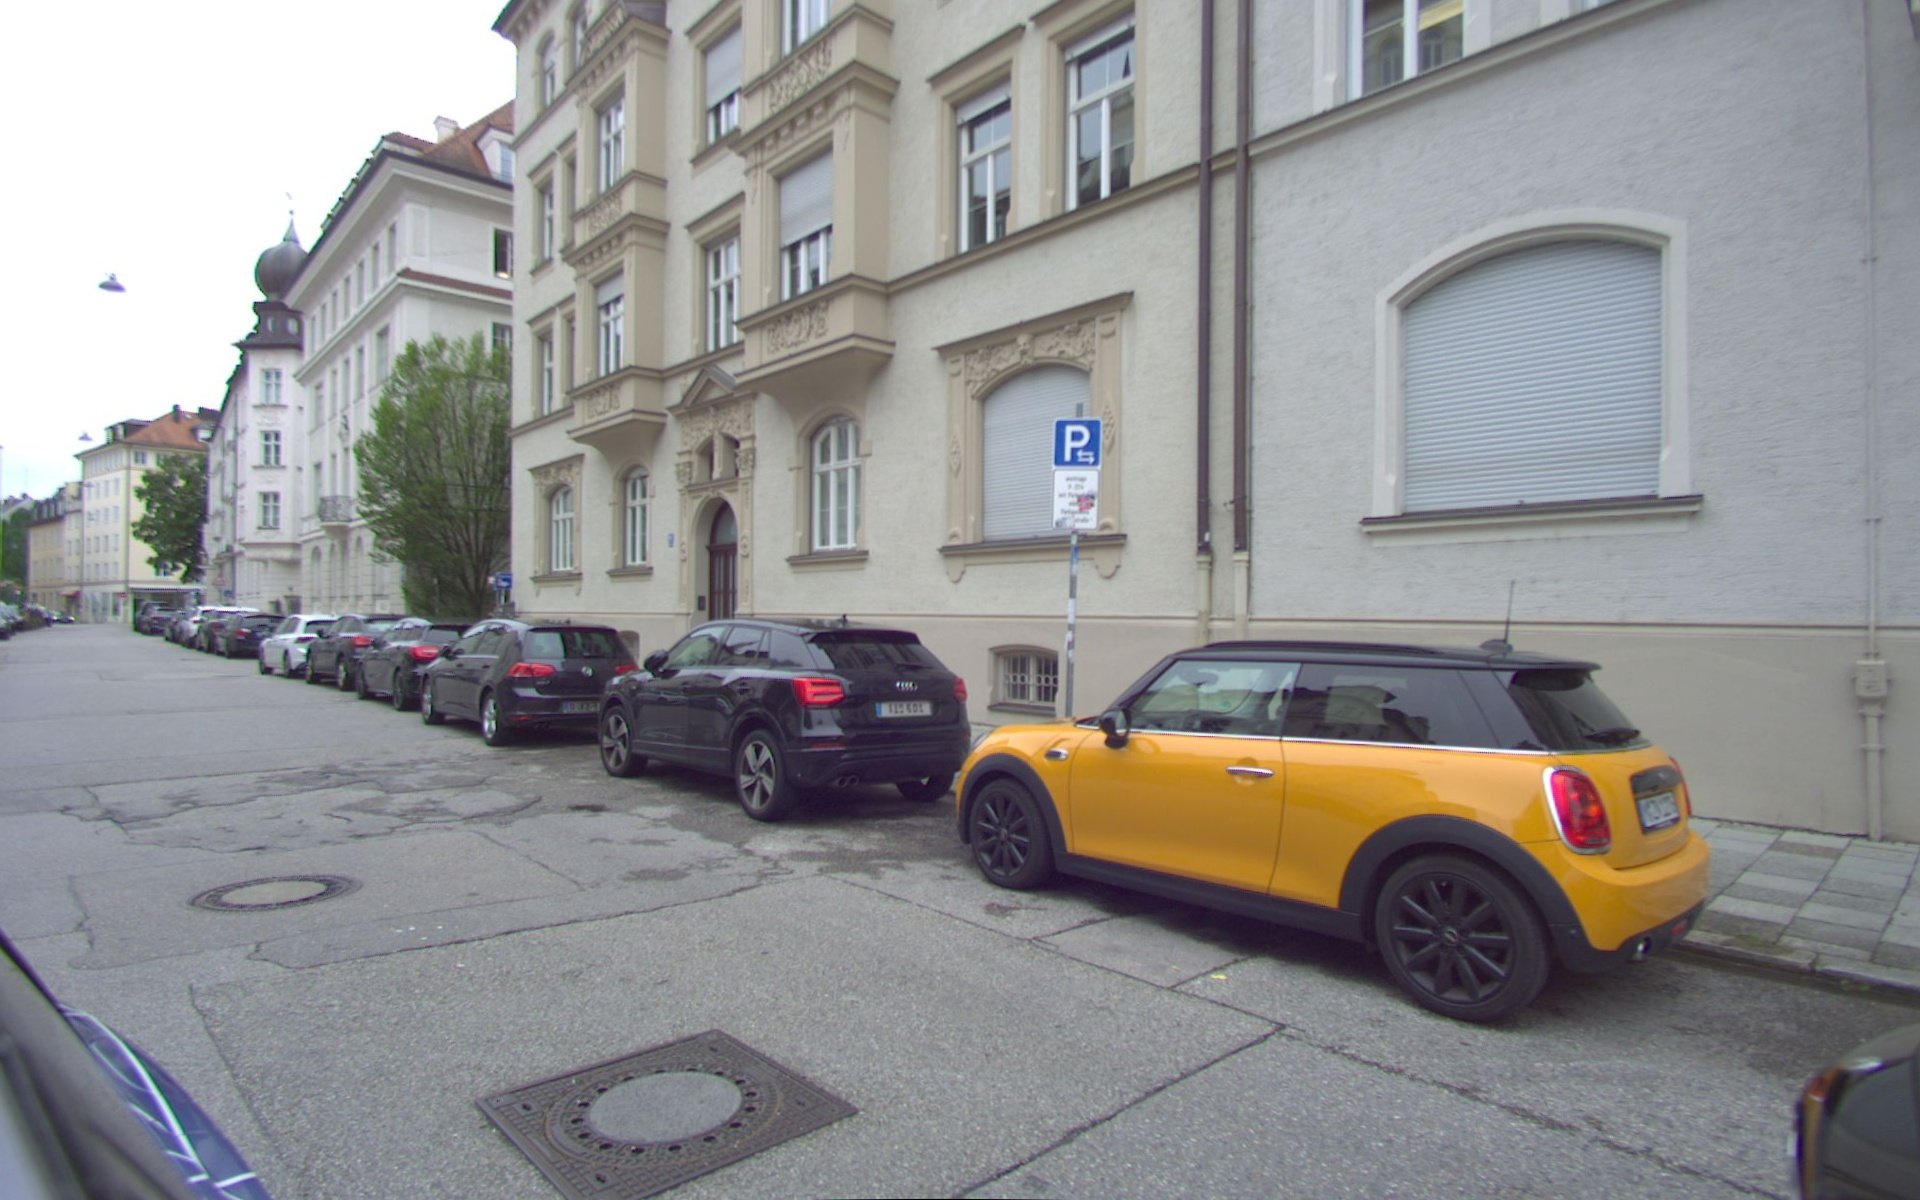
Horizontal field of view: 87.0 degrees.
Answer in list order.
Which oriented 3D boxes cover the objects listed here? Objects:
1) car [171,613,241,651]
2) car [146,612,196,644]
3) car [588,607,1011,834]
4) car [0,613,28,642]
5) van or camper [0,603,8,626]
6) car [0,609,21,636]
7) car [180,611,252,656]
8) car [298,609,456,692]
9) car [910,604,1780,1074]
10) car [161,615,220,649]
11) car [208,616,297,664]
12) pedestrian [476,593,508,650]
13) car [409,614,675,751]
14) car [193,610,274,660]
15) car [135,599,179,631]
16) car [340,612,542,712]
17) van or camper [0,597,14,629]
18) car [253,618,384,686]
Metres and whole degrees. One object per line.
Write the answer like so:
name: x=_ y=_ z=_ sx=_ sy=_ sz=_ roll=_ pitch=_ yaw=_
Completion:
car: x=-32.436 y=1.360 z=43.482 sx=4.259 sy=1.553 sz=1.762 roll=0 pitch=-3 yaw=45
car: x=-43.147 y=1.513 z=55.307 sx=1.706 sy=1.631 sz=4.125 roll=3 pitch=-3 yaw=-43
car: x=-1.590 y=0.854 z=8.842 sx=1.731 sy=1.511 sz=4.024 roll=3 pitch=-3 yaw=-41
car: x=-57.846 y=1.665 z=61.440 sx=1.779 sy=1.687 sz=4.194 roll=-4 pitch=2 yaw=-42
van or camper: x=-106.351 y=1.572 z=110.747 sx=5.709 sy=2.528 sz=1.944 roll=-1 pitch=-1 yaw=34
car: x=-52.099 y=1.234 z=54.677 sx=1.815 sy=1.410 sz=4.976 roll=-2 pitch=0 yaw=-45
car: x=-29.072 y=1.269 z=39.507 sx=1.891 sy=1.631 sz=4.577 roll=0 pitch=-1 yaw=-41
car: x=-12.032 y=1.002 z=20.760 sx=1.749 sy=1.530 sz=4.388 roll=4 pitch=-4 yaw=-44
car: x=1.614 y=0.843 z=5.328 sx=1.620 sy=1.511 sz=3.977 roll=4 pitch=-4 yaw=-41
car: x=-35.669 y=1.464 z=46.895 sx=1.771 sy=1.426 sz=4.284 roll=4 pitch=-3 yaw=-42
car: x=-22.401 y=1.219 z=31.989 sx=1.765 sy=1.423 sz=4.372 roll=1 pitch=-1 yaw=-42
pedestrian: x=-13.632 y=0.610 z=29.500 sx=0.665 sy=1.638 sz=0.631 roll=1 pitch=-1 yaw=-45
car: x=-5.468 y=0.956 z=12.930 sx=1.814 sy=1.447 sz=4.250 roll=4 pitch=-4 yaw=-41
car: x=-25.467 y=1.177 z=35.418 sx=1.814 sy=1.631 sz=4.249 roll=1 pitch=-1 yaw=-42
car: x=-50.695 y=0.966 z=63.859 sx=1.814 sy=1.909 sz=4.769 roll=3 pitch=-3 yaw=-42
car: x=-8.811 y=0.969 z=16.978 sx=1.811 sy=1.445 sz=4.558 roll=3 pitch=-3 yaw=-43
van or camper: x=-87.818 y=1.158 z=89.562 sx=2.303 sy=2.735 sz=5.790 roll=-5 pitch=-4 yaw=41
car: x=-15.253 y=1.183 z=23.986 sx=1.814 sy=1.445 sz=4.248 roll=3 pitch=-3 yaw=-43
